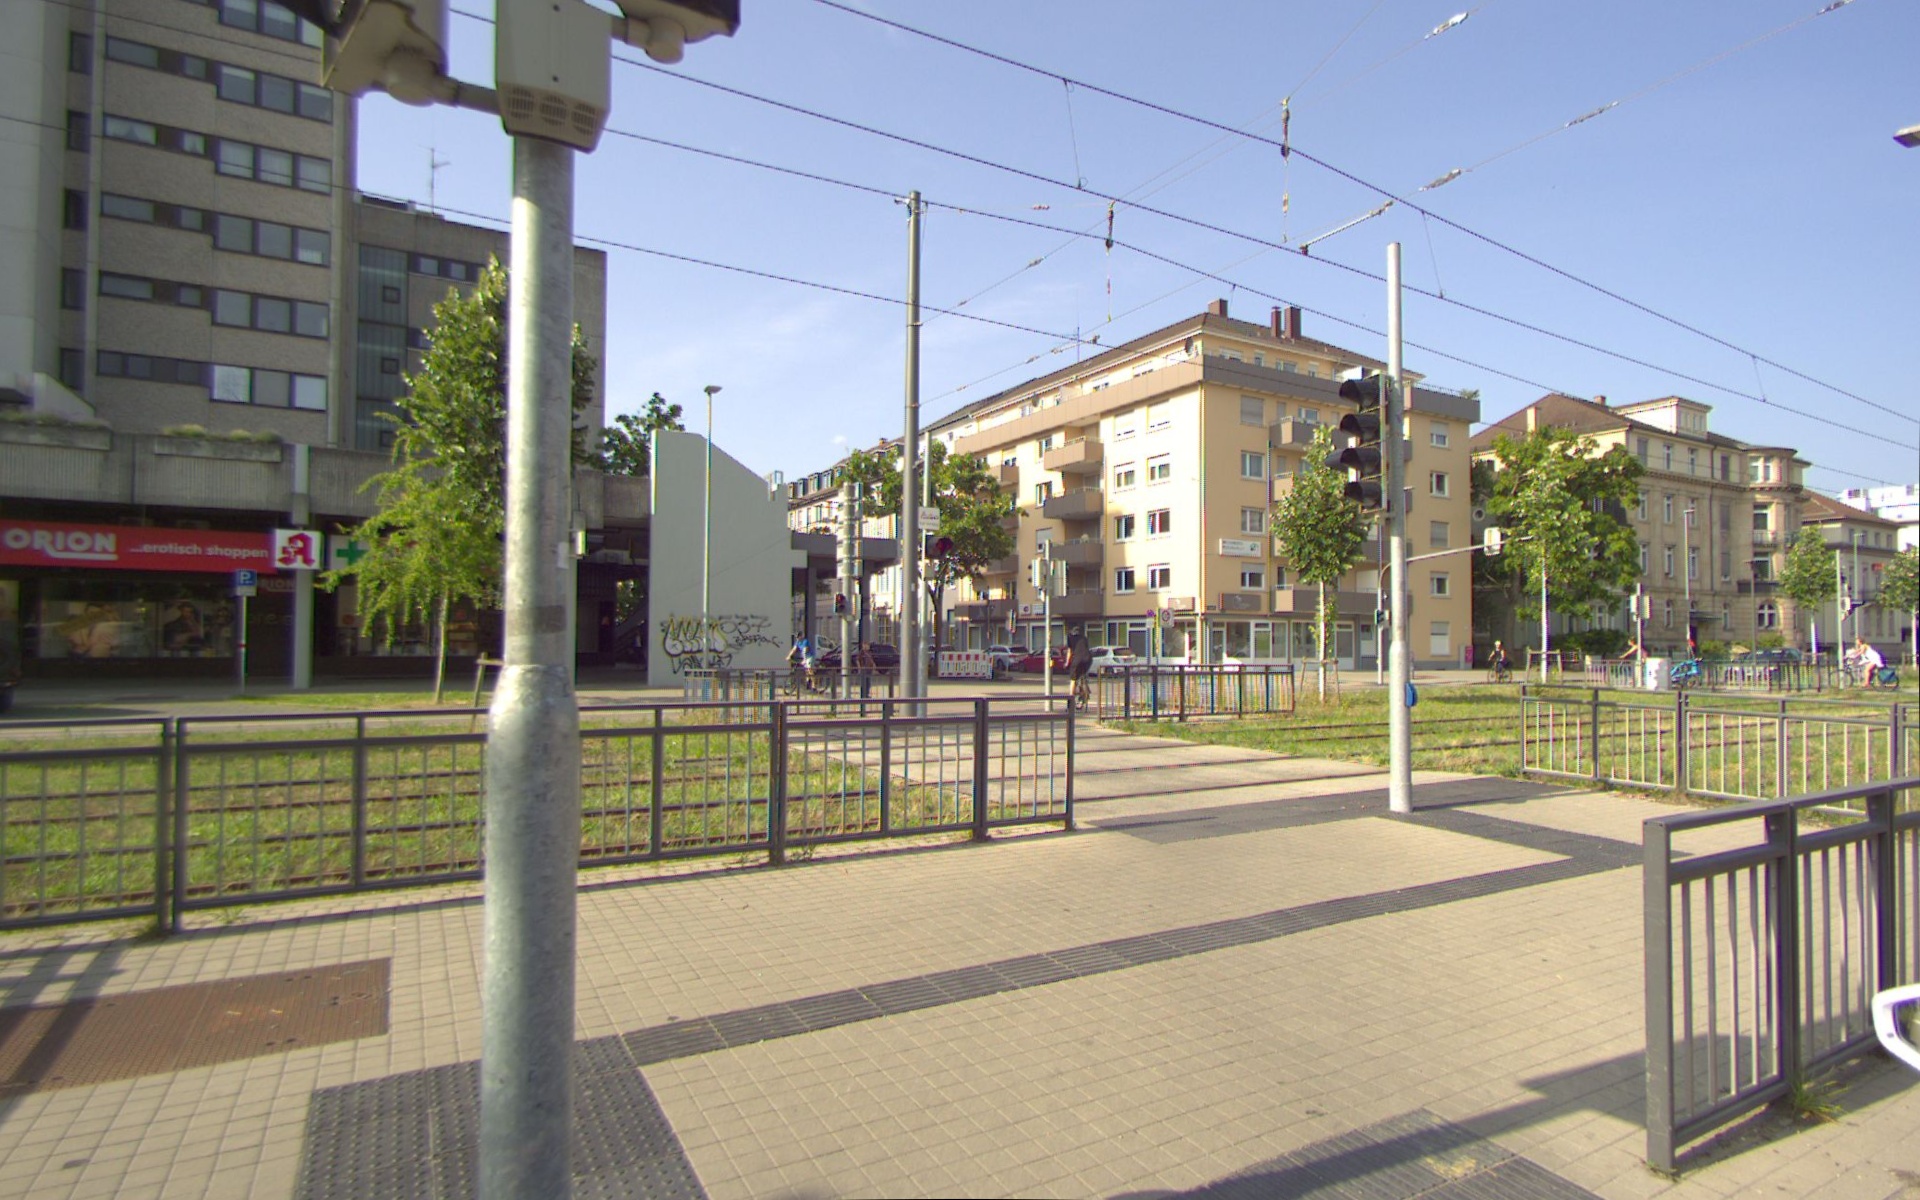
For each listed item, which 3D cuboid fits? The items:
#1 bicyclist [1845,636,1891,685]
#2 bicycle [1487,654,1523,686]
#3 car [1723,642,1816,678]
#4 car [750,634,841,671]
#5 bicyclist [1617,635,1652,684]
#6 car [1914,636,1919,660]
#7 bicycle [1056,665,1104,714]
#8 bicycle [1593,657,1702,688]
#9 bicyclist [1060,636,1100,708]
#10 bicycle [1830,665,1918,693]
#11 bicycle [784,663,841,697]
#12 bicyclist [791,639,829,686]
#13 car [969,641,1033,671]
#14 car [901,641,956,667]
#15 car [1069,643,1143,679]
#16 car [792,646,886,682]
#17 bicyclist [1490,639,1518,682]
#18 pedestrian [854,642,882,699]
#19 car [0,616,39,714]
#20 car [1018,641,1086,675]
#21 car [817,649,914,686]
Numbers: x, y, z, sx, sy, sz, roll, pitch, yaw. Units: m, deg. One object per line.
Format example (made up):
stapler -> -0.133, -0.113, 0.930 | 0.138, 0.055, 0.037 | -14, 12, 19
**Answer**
bicyclist -> 28.603, 1.898, 31.641 | 0.615, 1.520, 0.975 | 2, -2, -39
bicycle -> 23.960, 3.076, 44.172 | 1.740, 1.363, 0.690 | 2, -2, -35
car -> 36.745, 2.711, 45.600 | 4.349, 1.533, 1.983 | 2, -2, -32
car -> -9.462, 3.034, 57.851 | 4.776, 1.994, 1.984 | 2, -3, -30
bicyclist -> 23.202, 2.024, 34.560 | 0.876, 1.650, 0.891 | -1, -2, 26
car -> 83.613, 4.224, 85.543 | 5.206, 2.040, 2.237 | 4, -1, -32
bicycle -> 2.443, 1.829, 20.624 | 0.547, 0.947, 1.611 | -1, -4, -9
bicycle -> 23.500, 2.457, 34.418 | 2.941, 0.978, 0.900 | -1, -2, 25
bicyclist -> 2.443, 1.474, 20.538 | 0.536, 1.413, 0.973 | -1, -4, -9
bicycle -> 28.676, 2.456, 31.537 | 0.624, 0.804, 1.981 | 2, -3, -39
bicycle -> -4.627, 2.497, 31.567 | 1.647, 1.003, 0.680 | 1, -2, -29
bicyclist -> -4.710, 1.942, 31.539 | 1.012, 1.459, 0.680 | 1, -2, -29
car -> 2.340, 3.216, 57.942 | 1.796, 1.625, 3.917 | 2, -3, -33
car -> -2.062, 3.474, 64.820 | 1.797, 1.625, 3.916 | 2, -3, -34
car -> 7.189, 3.000, 49.708 | 1.690, 1.604, 3.603 | -2, -1, -33
car -> -6.145, 3.243, 50.984 | 4.334, 1.649, 1.898 | 2, -1, -33
bicyclist -> 23.916, 2.654, 44.155 | 1.073, 1.829, 0.665 | 2, -2, -35
pedestrian -> -2.791, 2.117, 30.404 | 0.637, 1.712, 0.656 | 1, -2, -27
car -> -21.665, 1.343, 21.040 | 4.031, 1.994, 1.879 | -1, -2, 21
car -> 4.884, 3.057, 53.697 | 1.755, 1.711, 3.766 | 2, -3, -32
car -> -4.584, 3.274, 49.127 | 4.334, 1.649, 1.898 | 2, -1, -33
